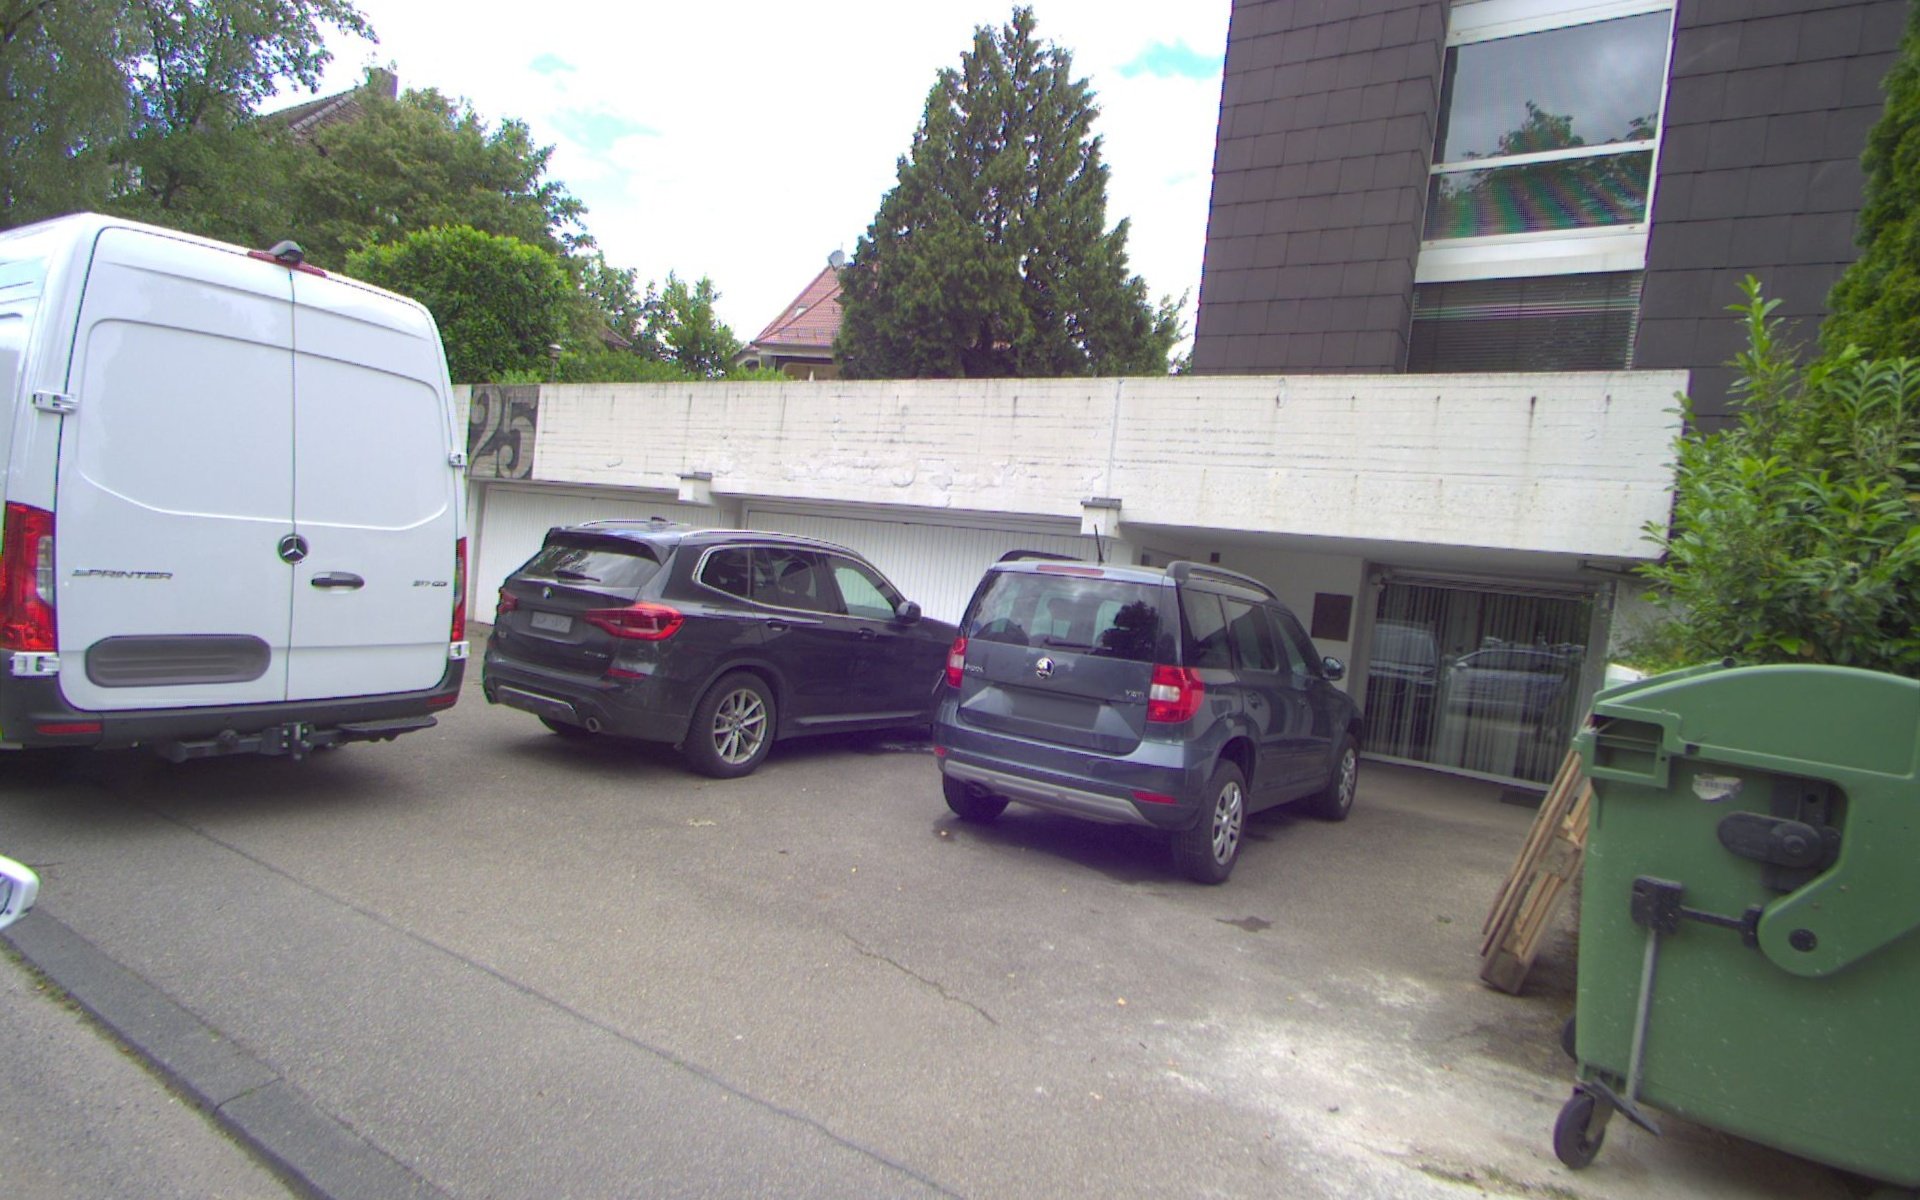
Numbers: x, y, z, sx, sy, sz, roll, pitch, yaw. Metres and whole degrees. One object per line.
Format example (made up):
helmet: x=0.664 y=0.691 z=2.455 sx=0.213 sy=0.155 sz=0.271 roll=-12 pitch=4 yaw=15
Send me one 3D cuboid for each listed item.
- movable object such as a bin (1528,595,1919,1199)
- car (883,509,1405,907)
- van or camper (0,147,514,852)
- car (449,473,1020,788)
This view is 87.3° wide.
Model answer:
movable object such as a bin: x=2.287 y=0.836 z=2.796 sx=1.016 sy=1.550 sz=1.034 roll=7 pitch=1 yaw=33
car: x=1.515 y=0.575 z=6.768 sx=1.804 sy=1.772 sz=3.973 roll=7 pitch=1 yaw=35
van or camper: x=-5.772 y=-0.612 z=6.310 sx=6.433 sy=2.653 sz=1.995 roll=7 pitch=1 yaw=32
car: x=-1.427 y=0.245 z=8.085 sx=1.710 sy=1.772 sz=4.419 roll=7 pitch=1 yaw=33
